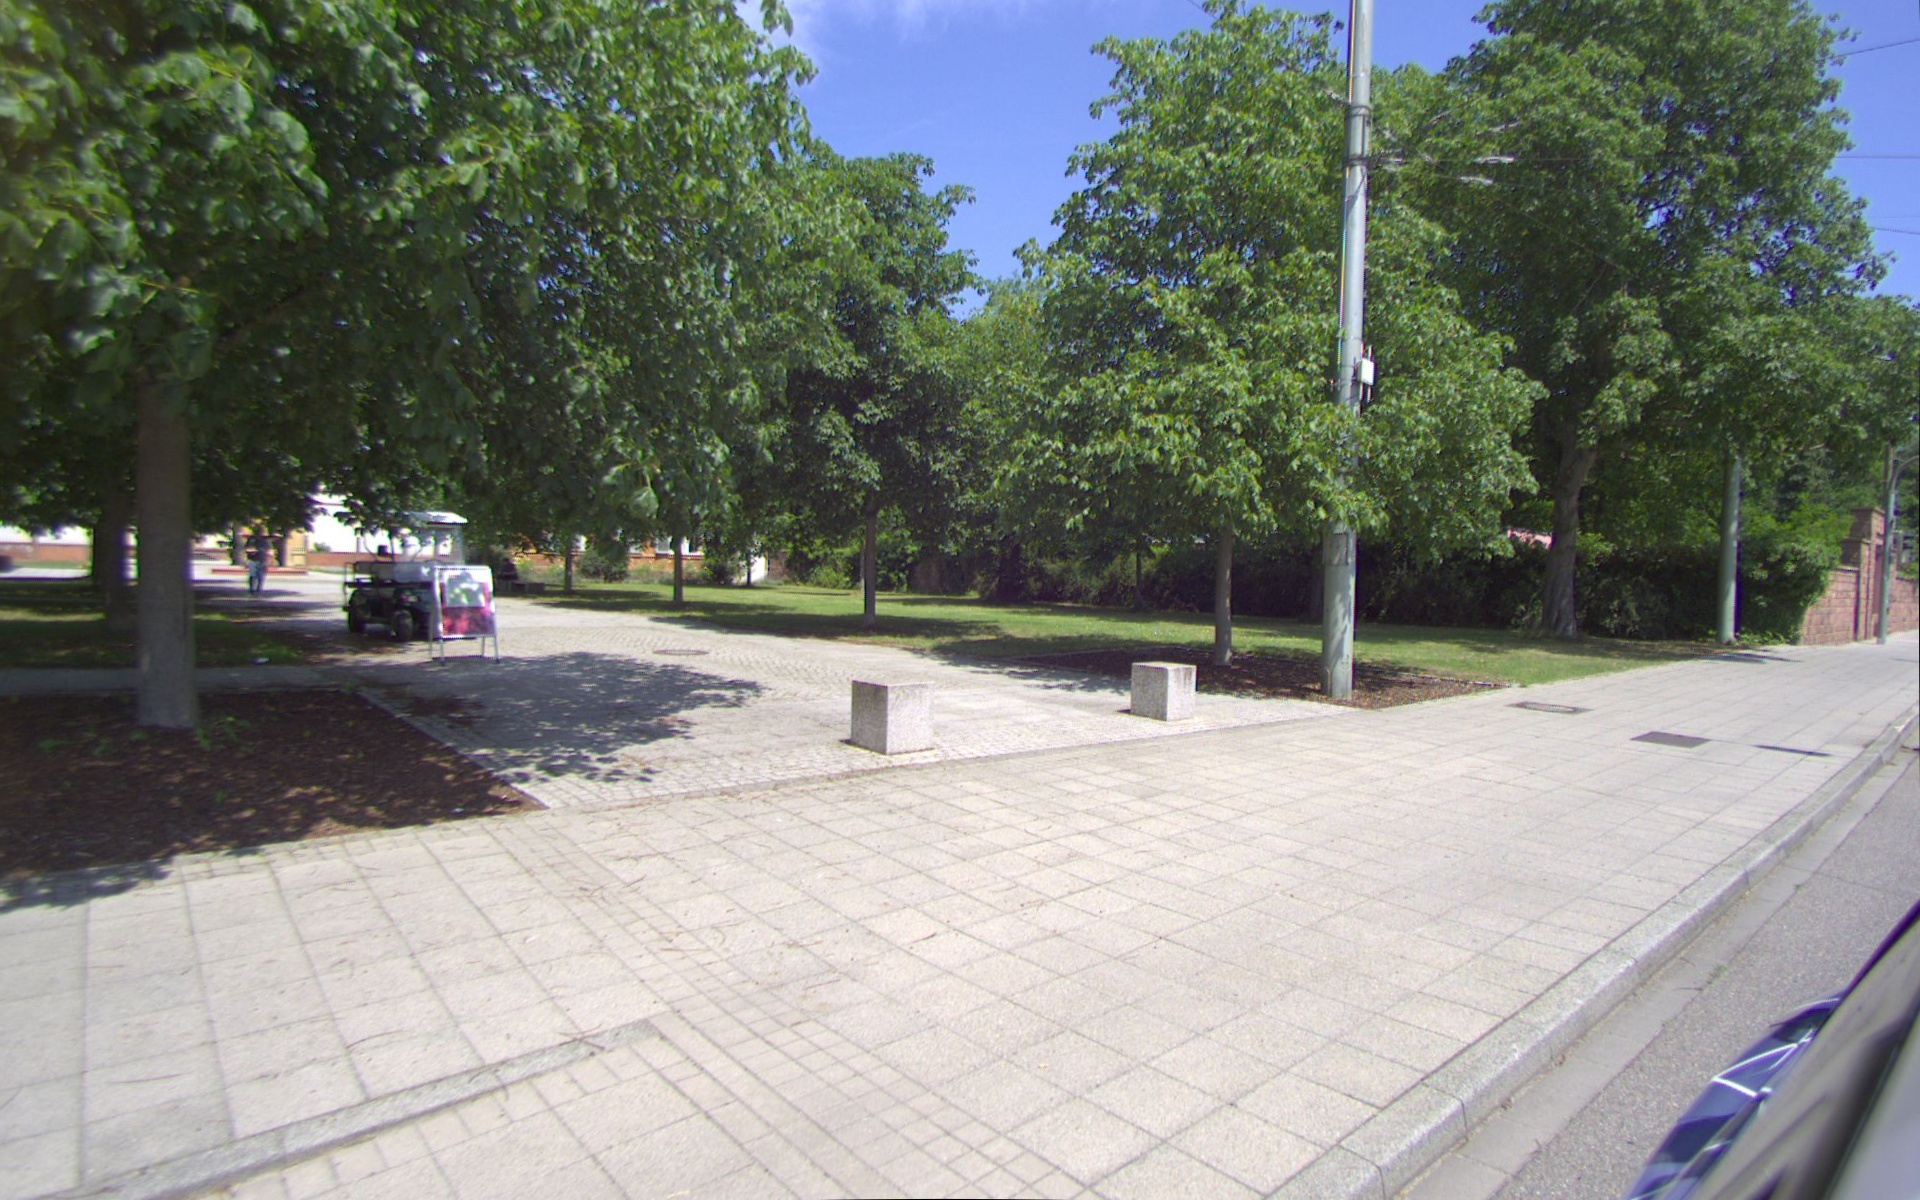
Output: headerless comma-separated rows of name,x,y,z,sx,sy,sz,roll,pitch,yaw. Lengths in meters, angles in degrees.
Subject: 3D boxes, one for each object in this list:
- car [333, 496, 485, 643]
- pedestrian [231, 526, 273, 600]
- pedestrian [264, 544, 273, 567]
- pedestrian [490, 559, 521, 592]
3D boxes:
car,-8.659,-0.527,15.796,1.439,2.038,3.339,-1,4,-40
pedestrian,-17.787,-0.928,25.436,0.756,1.815,0.773,0,2,-43
pedestrian,-46.826,-3.027,68.547,0.409,1.506,0.503,1,2,-42
pedestrian,-16.390,-0.890,36.492,0.817,1.128,0.795,1,2,-41
